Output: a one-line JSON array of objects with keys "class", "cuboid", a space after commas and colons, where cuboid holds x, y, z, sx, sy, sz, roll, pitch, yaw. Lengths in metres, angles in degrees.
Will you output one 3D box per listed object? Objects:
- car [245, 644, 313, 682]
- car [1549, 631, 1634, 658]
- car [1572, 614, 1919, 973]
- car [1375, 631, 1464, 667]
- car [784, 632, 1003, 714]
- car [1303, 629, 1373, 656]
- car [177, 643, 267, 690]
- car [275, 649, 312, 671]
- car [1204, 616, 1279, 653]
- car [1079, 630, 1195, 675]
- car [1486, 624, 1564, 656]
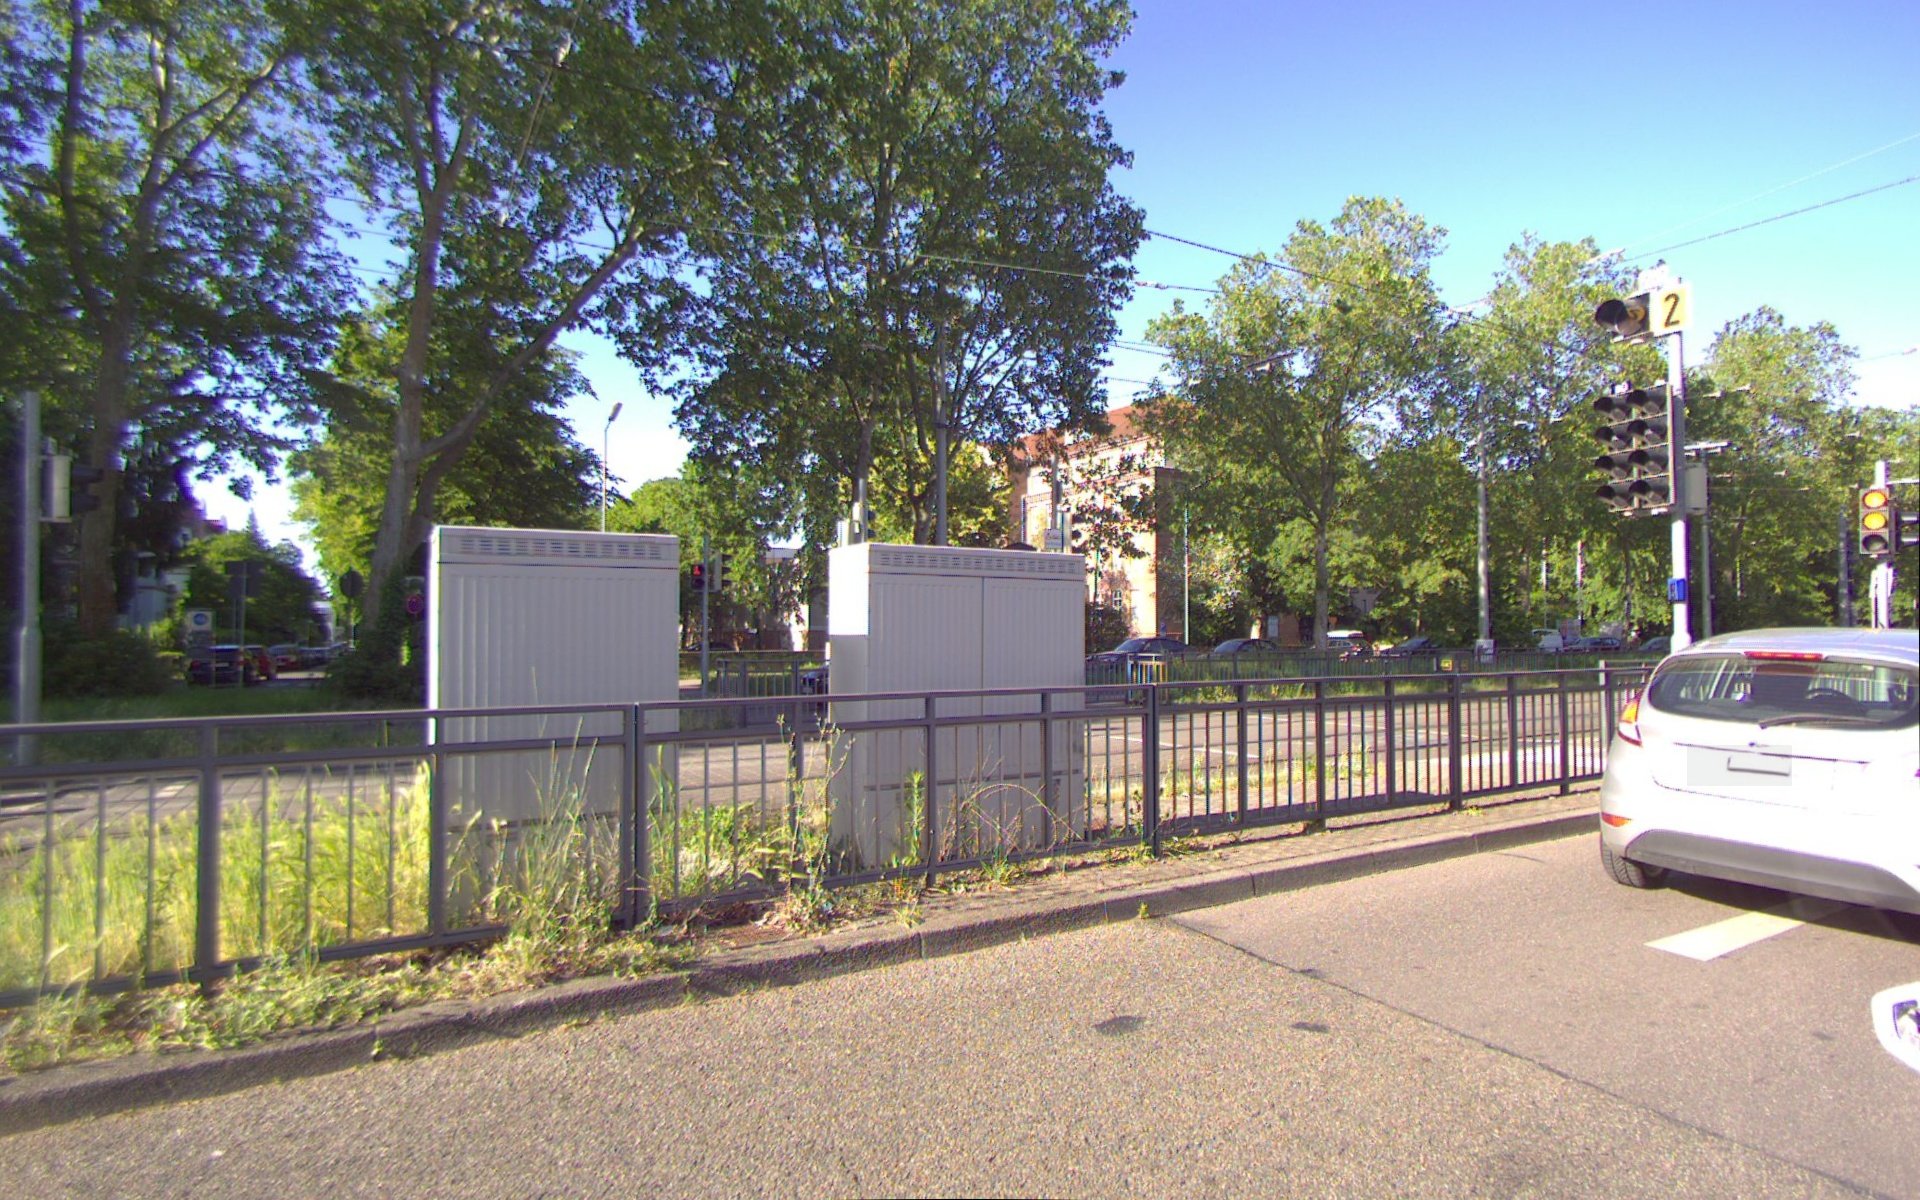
[{"class": "car", "cuboid": [-28.555, 2.591, 42.217, 1.976, 1.437, 3.970, 1, -1, -29]}, {"class": "car", "cuboid": [33.421, 2.353, 53.106, 4.795, 1.366, 1.926, 2, -2, -32]}, {"class": "car", "cuboid": [5.248, 0.839, 5.723, 3.850, 1.487, 1.599, 1, -1, -35]}, {"class": "car", "cuboid": [20.724, 2.194, 45.299, 4.098, 1.529, 1.661, 1, -2, -32]}, {"class": "car", "cuboid": [-1.320, 1.426, 20.780, 4.297, 1.518, 1.674, 1, -1, -33]}, {"class": "car", "cuboid": [21.799, 2.435, 58.098, 1.375, 1.514, 3.974, 1, -2, -26]}, {"class": "car", "cuboid": [-25.373, 2.239, 34.672, 1.976, 1.437, 3.970, 1, -1, -29]}, {"class": "car", "cuboid": [-38.251, 3.408, 57.686, 1.513, 1.134, 3.102, 1, -2, -29]}, {"class": "car", "cuboid": [16.068, 1.928, 57.359, 3.953, 2.040, 1.984, 1, -2, -30]}, {"class": "car", "cuboid": [6.439, 1.872, 36.360, 4.098, 1.529, 1.661, 1, -2, -32]}, {"class": "car", "cuboid": [28.218, 1.977, 50.128, 4.098, 1.529, 1.660, 1, -1, -32]}]
